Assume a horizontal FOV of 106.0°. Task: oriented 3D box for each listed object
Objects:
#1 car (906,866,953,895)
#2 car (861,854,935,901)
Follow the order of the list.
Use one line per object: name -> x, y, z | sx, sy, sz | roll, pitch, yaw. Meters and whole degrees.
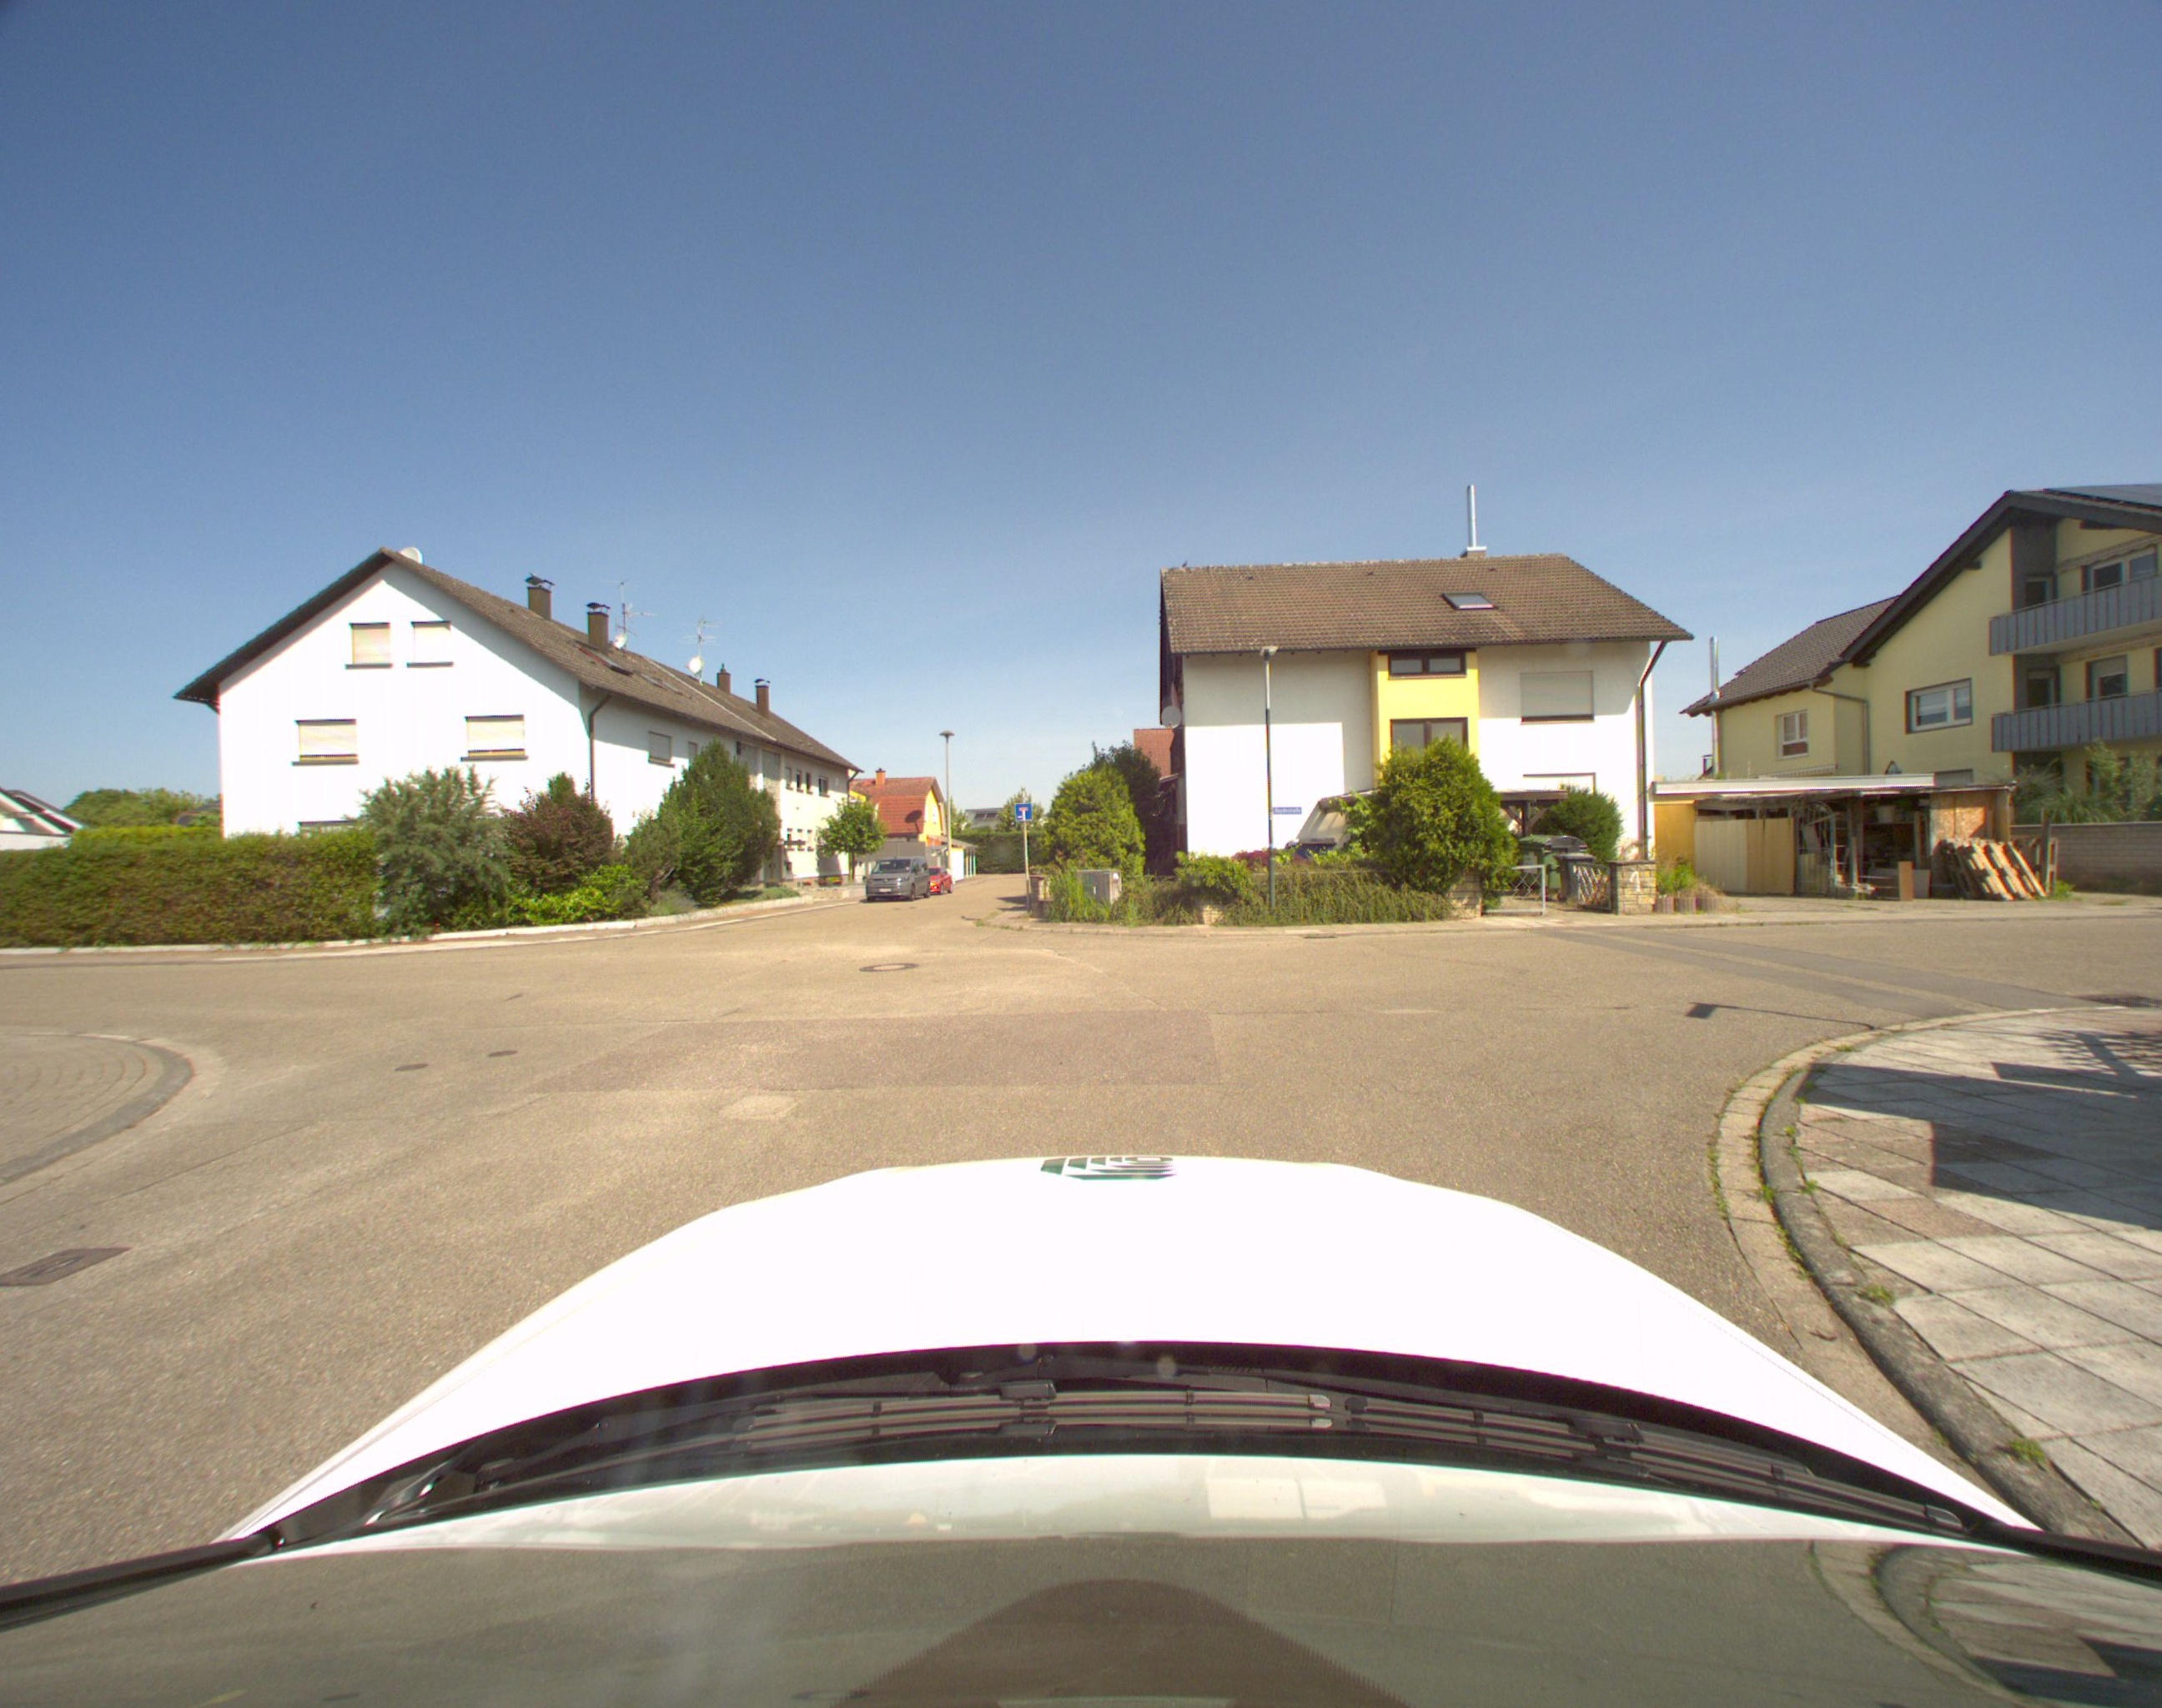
car -> -7.719, 1.336, 41.832 | 1.646, 1.365, 3.779 | -1, 0, 1
car -> -7.850, 0.962, 35.339 | 1.893, 1.870, 4.376 | -2, 0, 4
